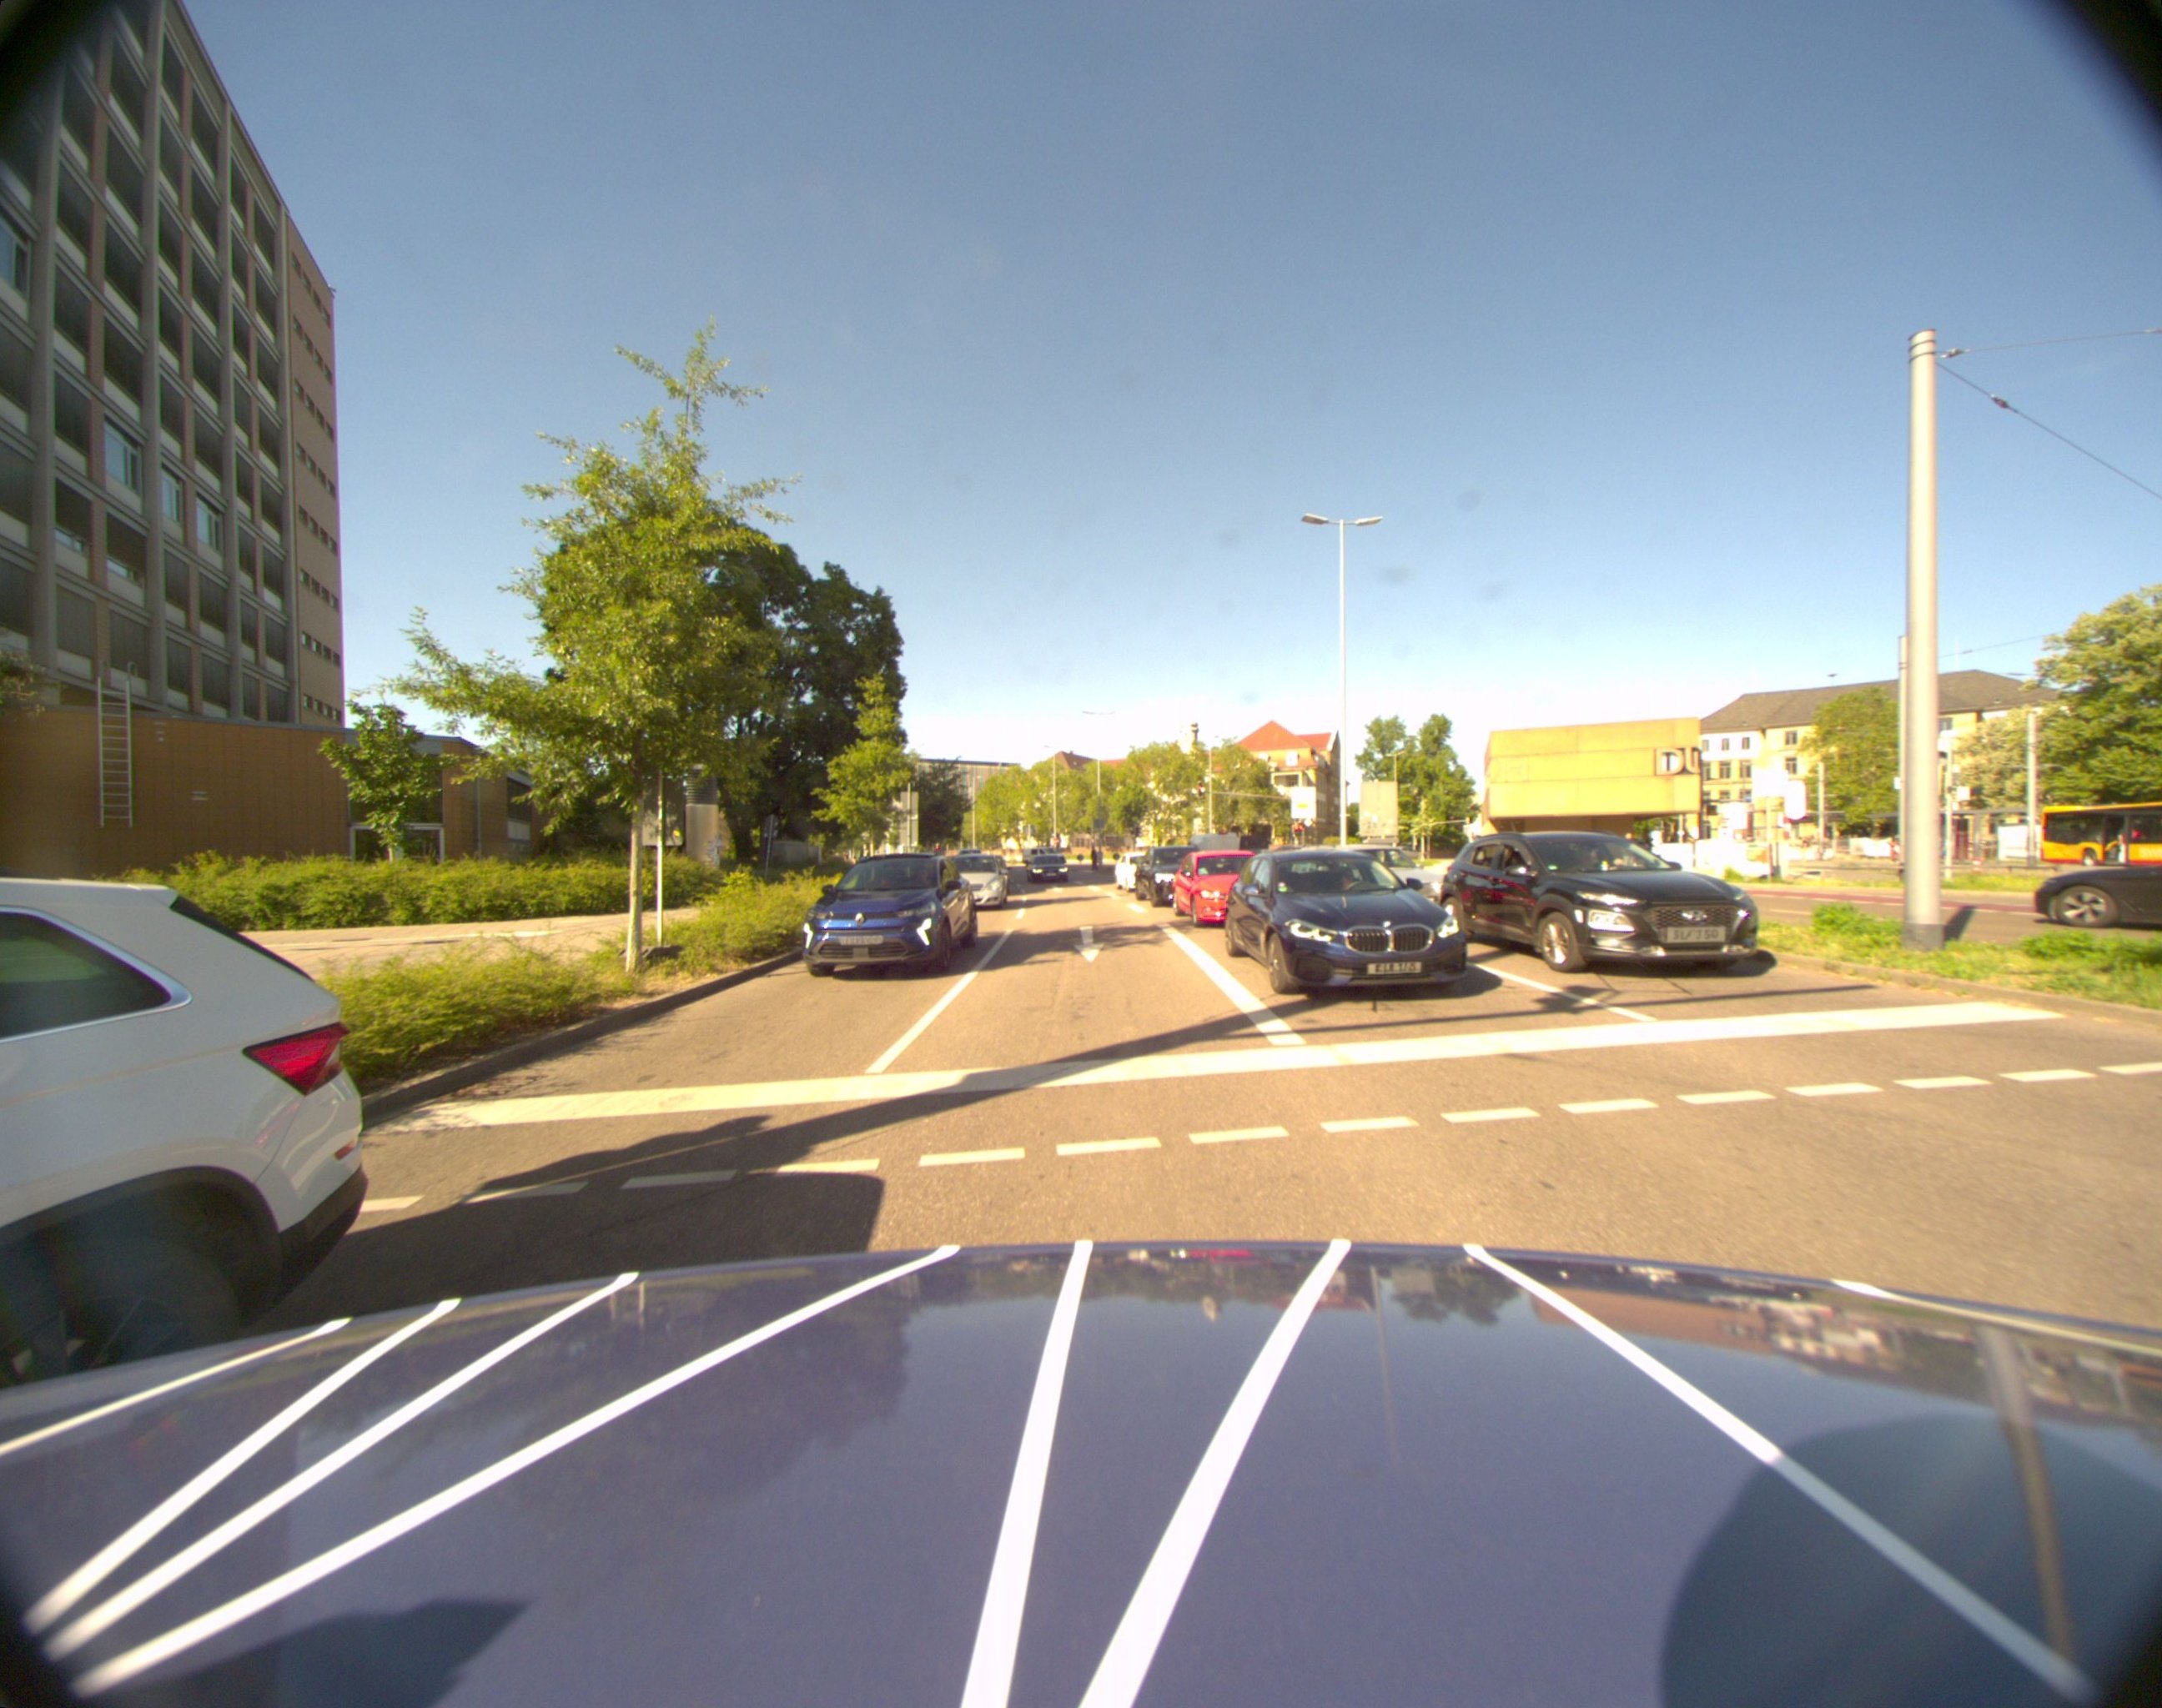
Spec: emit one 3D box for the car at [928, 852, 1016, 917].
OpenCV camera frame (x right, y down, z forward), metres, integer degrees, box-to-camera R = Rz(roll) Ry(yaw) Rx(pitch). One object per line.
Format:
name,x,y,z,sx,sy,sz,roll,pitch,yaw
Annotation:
car,-3.069,0.813,22.285,1.886,1.620,4.012,-2,1,1

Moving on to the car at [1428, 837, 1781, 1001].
car,5.963,0.610,9.317,1.686,1.523,3.915,-2,1,2

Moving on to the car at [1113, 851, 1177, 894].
car,2.343,0.632,28.974,1.760,1.447,4.120,-3,1,-4

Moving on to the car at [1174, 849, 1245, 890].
car,5.030,0.558,30.372,1.824,1.450,4.659,-3,1,-2

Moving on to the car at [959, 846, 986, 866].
car,-8.511,0.138,59.746,1.922,1.450,4.665,-3,1,-7

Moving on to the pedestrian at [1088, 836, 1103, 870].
pedestrian,1.008,-0.095,54.454,0.875,2.406,0.889,-3,1,-6

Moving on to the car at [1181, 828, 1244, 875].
car,8.211,-0.156,47.922,2.244,2.665,5.301,-3,1,-9

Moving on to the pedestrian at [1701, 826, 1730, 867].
pedestrian,28.990,-0.337,34.727,0.834,1.818,0.860,-2,1,31

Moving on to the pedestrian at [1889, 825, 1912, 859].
pedestrian,46.242,-0.672,42.888,0.689,1.851,0.730,-2,1,31

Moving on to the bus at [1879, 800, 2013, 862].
bus,47.440,-1.194,42.000,2.136,3.028,8.574,-2,0,29

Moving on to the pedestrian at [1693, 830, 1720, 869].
pedestrian,29.641,-0.217,35.994,0.834,1.818,0.860,-2,1,31

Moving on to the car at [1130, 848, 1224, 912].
car,2.548,0.645,21.177,1.760,1.526,4.120,-3,1,-4

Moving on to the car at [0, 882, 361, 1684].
car,-3.256,0.958,0.157,1.868,1.635,4.397,-3,0,2

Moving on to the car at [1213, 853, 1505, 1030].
car,2.806,0.773,8.724,1.886,1.450,4.012,-2,1,1

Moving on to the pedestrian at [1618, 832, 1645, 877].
pedestrian,22.894,0.018,31.589,0.857,1.818,0.703,-2,1,35

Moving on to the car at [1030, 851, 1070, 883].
car,-1.616,0.639,39.605,1.921,1.450,3.864,-3,1,-3

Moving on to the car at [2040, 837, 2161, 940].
car,16.562,0.487,9.993,1.887,1.450,4.642,-2,1,-5

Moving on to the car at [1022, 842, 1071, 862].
car,-3.541,-0.218,77.053,2.414,1.793,5.224,-3,1,-37

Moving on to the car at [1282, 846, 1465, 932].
car,5.807,0.599,15.778,1.824,1.450,4.659,-3,1,-2

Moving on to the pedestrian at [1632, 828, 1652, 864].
pedestrian,32.762,-0.450,44.363,0.857,2.063,0.611,-2,1,35

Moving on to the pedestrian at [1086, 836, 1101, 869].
pedestrian,0.933,-0.107,55.618,0.875,2.421,0.889,-3,1,-6

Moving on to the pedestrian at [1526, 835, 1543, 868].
pedestrian,24.198,-0.146,40.543,0.643,1.702,0.703,-2,1,41

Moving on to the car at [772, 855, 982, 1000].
car,-2.712,0.887,11.147,1.886,1.620,4.012,-2,1,1

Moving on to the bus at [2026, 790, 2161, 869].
bus,45.288,-1.088,31.531,2.843,3.104,11.836,-2,2,26

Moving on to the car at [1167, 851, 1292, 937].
car,2.883,0.707,15.558,1.713,1.450,4.012,-3,1,0

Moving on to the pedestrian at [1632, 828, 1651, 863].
pedestrian,33.401,-0.502,45.274,0.857,2.063,0.611,-2,1,35
